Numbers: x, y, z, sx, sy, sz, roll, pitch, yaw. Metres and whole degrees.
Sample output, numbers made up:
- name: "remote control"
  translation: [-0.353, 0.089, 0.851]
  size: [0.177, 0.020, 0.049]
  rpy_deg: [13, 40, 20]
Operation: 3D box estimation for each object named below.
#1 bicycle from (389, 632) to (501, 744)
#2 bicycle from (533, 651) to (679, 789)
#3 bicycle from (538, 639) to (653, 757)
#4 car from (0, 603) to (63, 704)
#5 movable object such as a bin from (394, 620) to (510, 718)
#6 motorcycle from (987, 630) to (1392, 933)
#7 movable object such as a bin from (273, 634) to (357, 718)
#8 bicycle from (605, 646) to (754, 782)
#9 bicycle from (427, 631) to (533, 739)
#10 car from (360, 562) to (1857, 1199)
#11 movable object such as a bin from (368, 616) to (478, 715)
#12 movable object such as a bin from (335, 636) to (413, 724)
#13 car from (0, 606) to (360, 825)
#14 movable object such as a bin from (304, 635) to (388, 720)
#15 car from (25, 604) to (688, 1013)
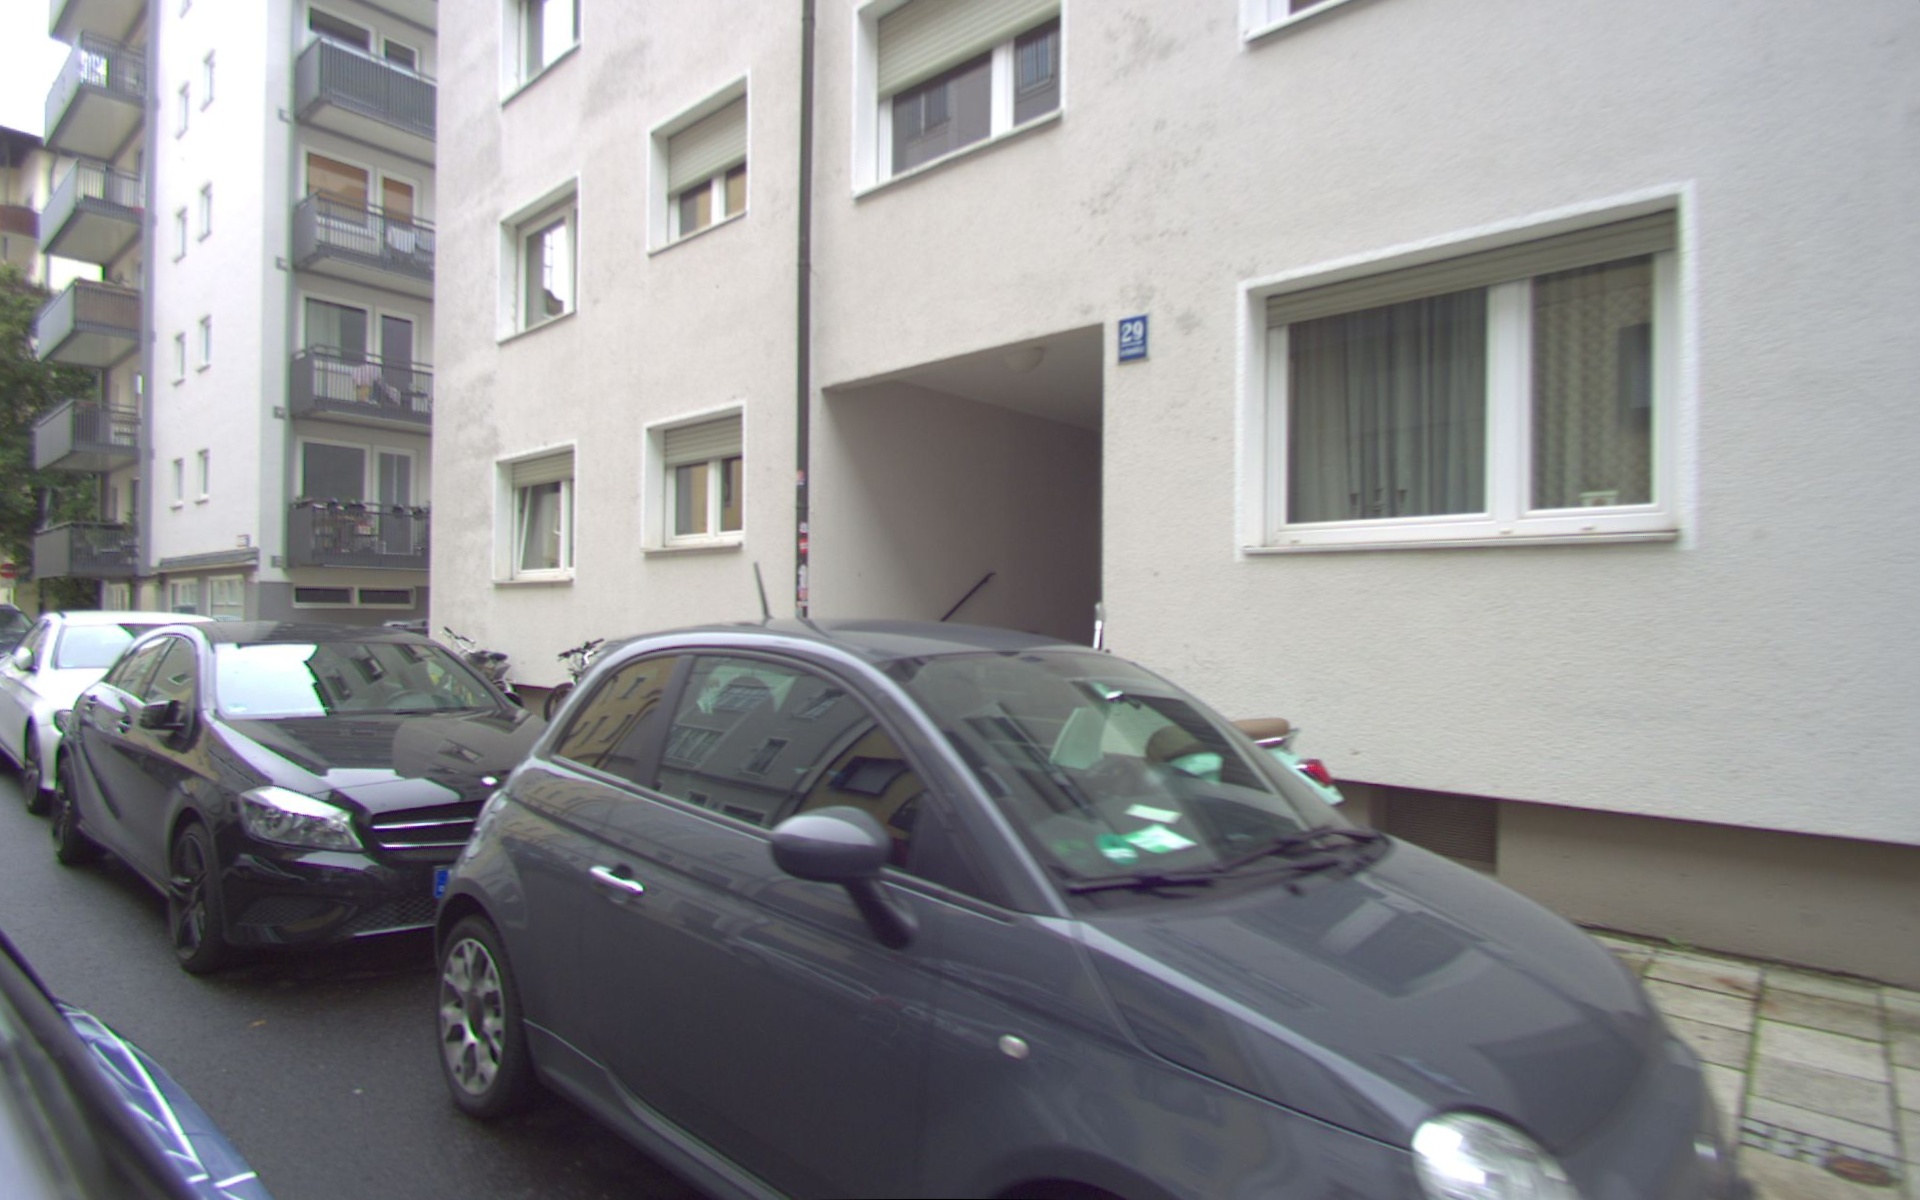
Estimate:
- name: "bicycle"
  translation: [-5.766, 0.949, 11.301]
  size: [1.681, 1.147, 0.400]
  rpy_deg: [0, -1, 37]
- name: "bicycle"
  translation: [-3.010, 0.966, 8.533]
  size: [1.623, 1.024, 0.383]
  rpy_deg: [-1, -3, 41]
- name: "bicycle"
  translation: [-3.514, 0.903, 9.701]
  size: [1.441, 1.024, 0.375]
  rpy_deg: [-1, -3, 42]
- name: "car"
  translation: [-17.235, 0.867, 17.515]
  size: [4.537, 1.619, 1.947]
  rpy_deg: [0, -1, 40]
- name: "movable object such as a bin"
  translation: [-7.048, 0.922, 14.055]
  size: [1.096, 1.272, 1.109]
  rpy_deg: [-1, -1, 42]
- name: "motorcycle"
  translation: [1.062, 0.767, 4.948]
  size: [1.855, 1.213, 0.594]
  rpy_deg: [0, -1, 36]
- name: "movable object such as a bin"
  translation: [-8.823, 1.016, 13.844]
  size: [0.677, 1.084, 0.761]
  rpy_deg: [0, -1, 35]
- name: "bicycle"
  translation: [-2.404, 0.920, 8.574]
  size: [1.574, 1.024, 0.394]
  rpy_deg: [-1, -3, 41]
- name: "bicycle"
  translation: [-5.544, 0.949, 11.647]
  size: [1.680, 1.147, 0.338]
  rpy_deg: [0, -1, 36]
- name: "car"
  translation: [-0.073, 0.750, 2.746]
  size: [3.742, 1.457, 1.594]
  rpy_deg: [-1, -4, 42]
- name: "movable object such as a bin"
  translation: [-7.862, 0.925, 14.821]
  size: [1.103, 1.364, 1.099]
  rpy_deg: [-1, -1, 42]
- name: "movable object such as a bin"
  translation: [-7.653, 1.021, 13.215]
  size: [0.603, 1.084, 0.684]
  rpy_deg: [0, -1, 35]
- name: "car"
  translation: [-7.290, 0.796, 9.007]
  size: [4.805, 1.448, 1.892]
  rpy_deg: [0, -1, 40]
- name: "movable object such as a bin"
  translation: [-8.205, 1.015, 13.533]
  size: [0.633, 1.084, 0.761]
  rpy_deg: [0, -1, 35]
- name: "car"
  translation: [-3.525, 0.753, 5.576]
  size: [4.222, 1.427, 1.783]
  rpy_deg: [0, -1, 39]
